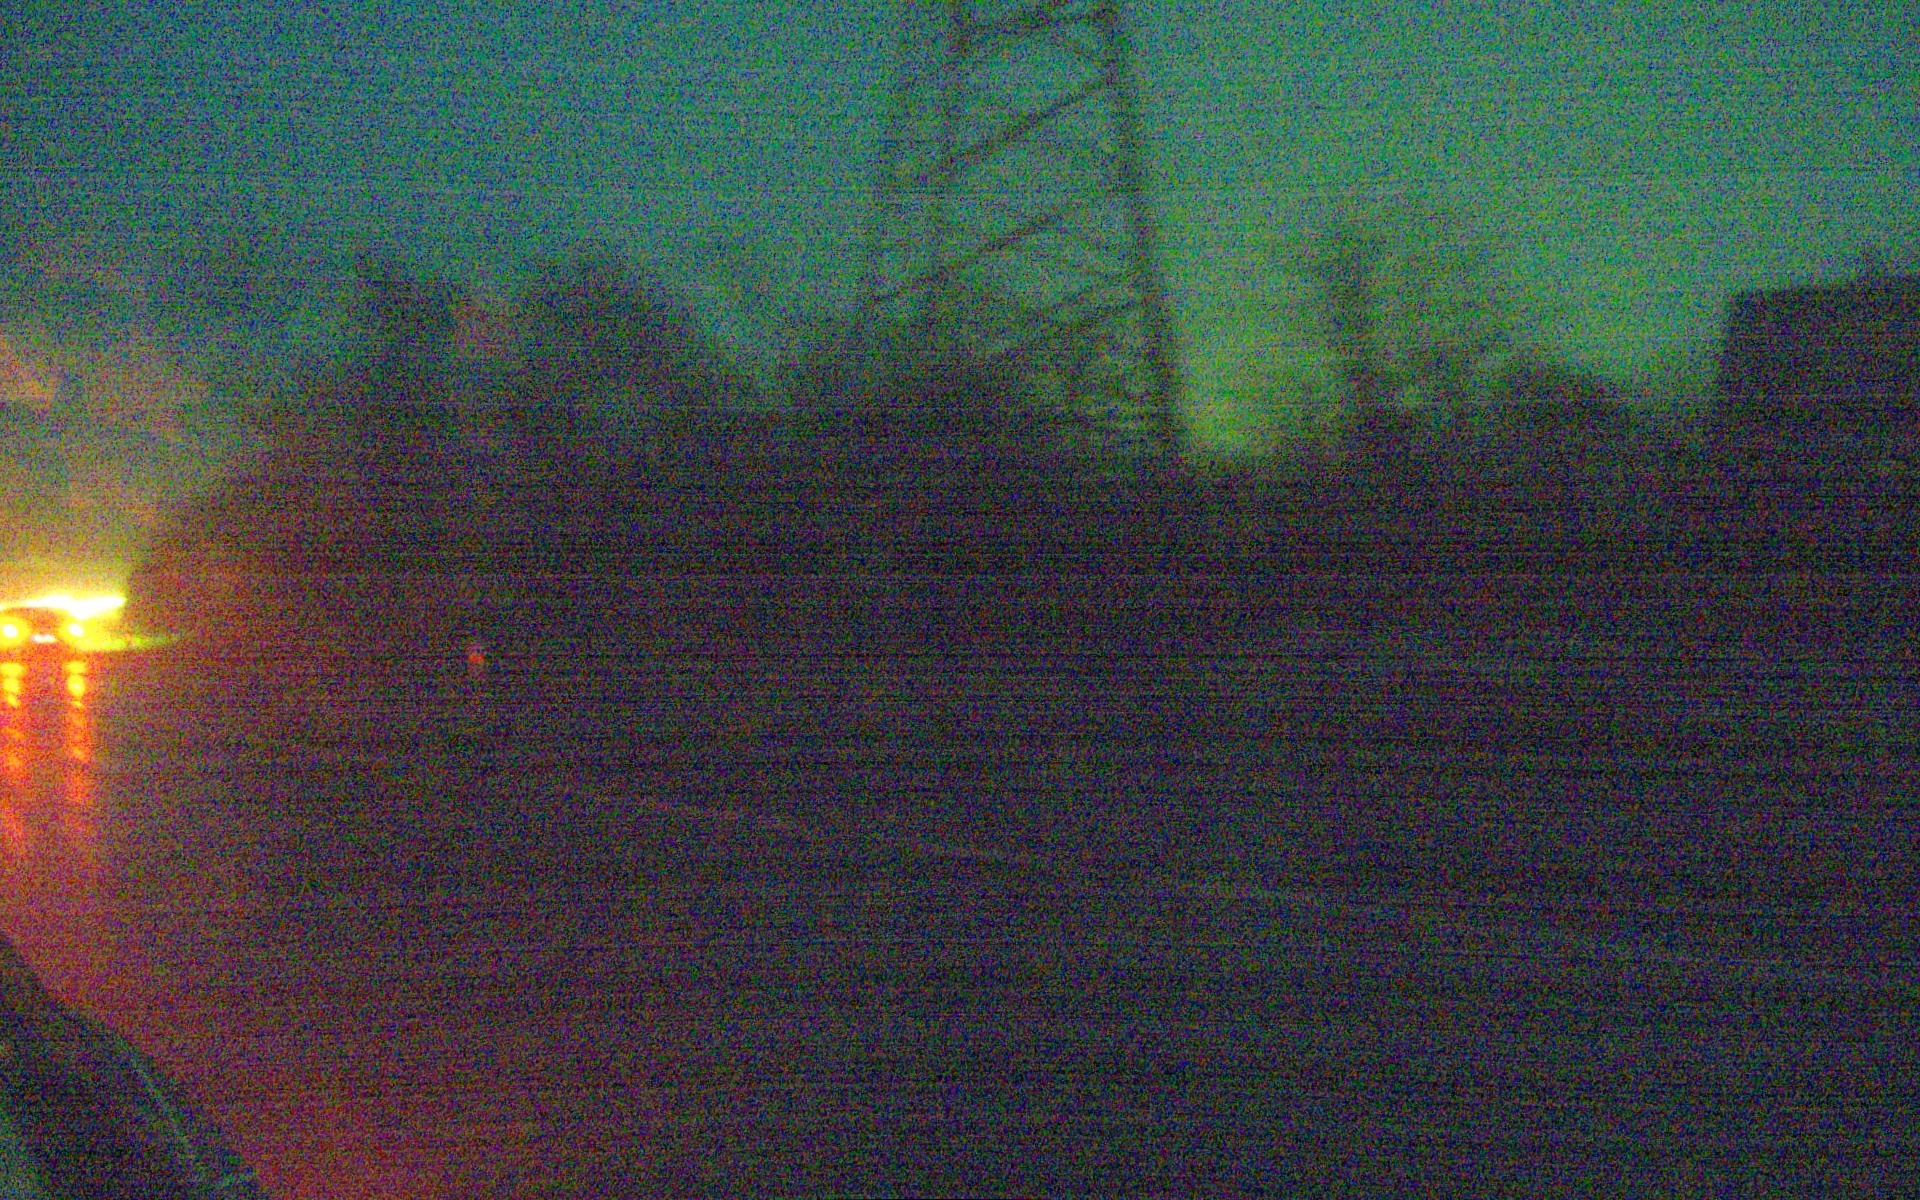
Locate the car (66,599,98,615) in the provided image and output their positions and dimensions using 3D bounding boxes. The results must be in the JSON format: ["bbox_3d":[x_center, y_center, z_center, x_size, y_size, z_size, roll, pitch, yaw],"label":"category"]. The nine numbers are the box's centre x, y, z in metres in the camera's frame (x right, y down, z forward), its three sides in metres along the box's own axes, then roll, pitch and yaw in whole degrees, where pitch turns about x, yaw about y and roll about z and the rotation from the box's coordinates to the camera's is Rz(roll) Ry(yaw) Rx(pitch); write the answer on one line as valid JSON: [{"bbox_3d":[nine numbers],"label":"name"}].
[{"bbox_3d":[-87.902,0.709,101.363,1.747,1.495,4.394,0,1,-32],"label":"car"}]

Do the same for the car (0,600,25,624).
[{"bbox_3d":[-60.410,0.746,63.985,1.749,1.399,4.239,-1,1,-41],"label":"car"}]

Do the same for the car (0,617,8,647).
[{"bbox_3d":[-48.687,1.595,50.220,4.034,1.399,1.753,0,1,41],"label":"car"}]

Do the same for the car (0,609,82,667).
[{"bbox_3d":[-31.897,1.243,34.842,4.959,1.760,1.841,0,1,41],"label":"car"}]
